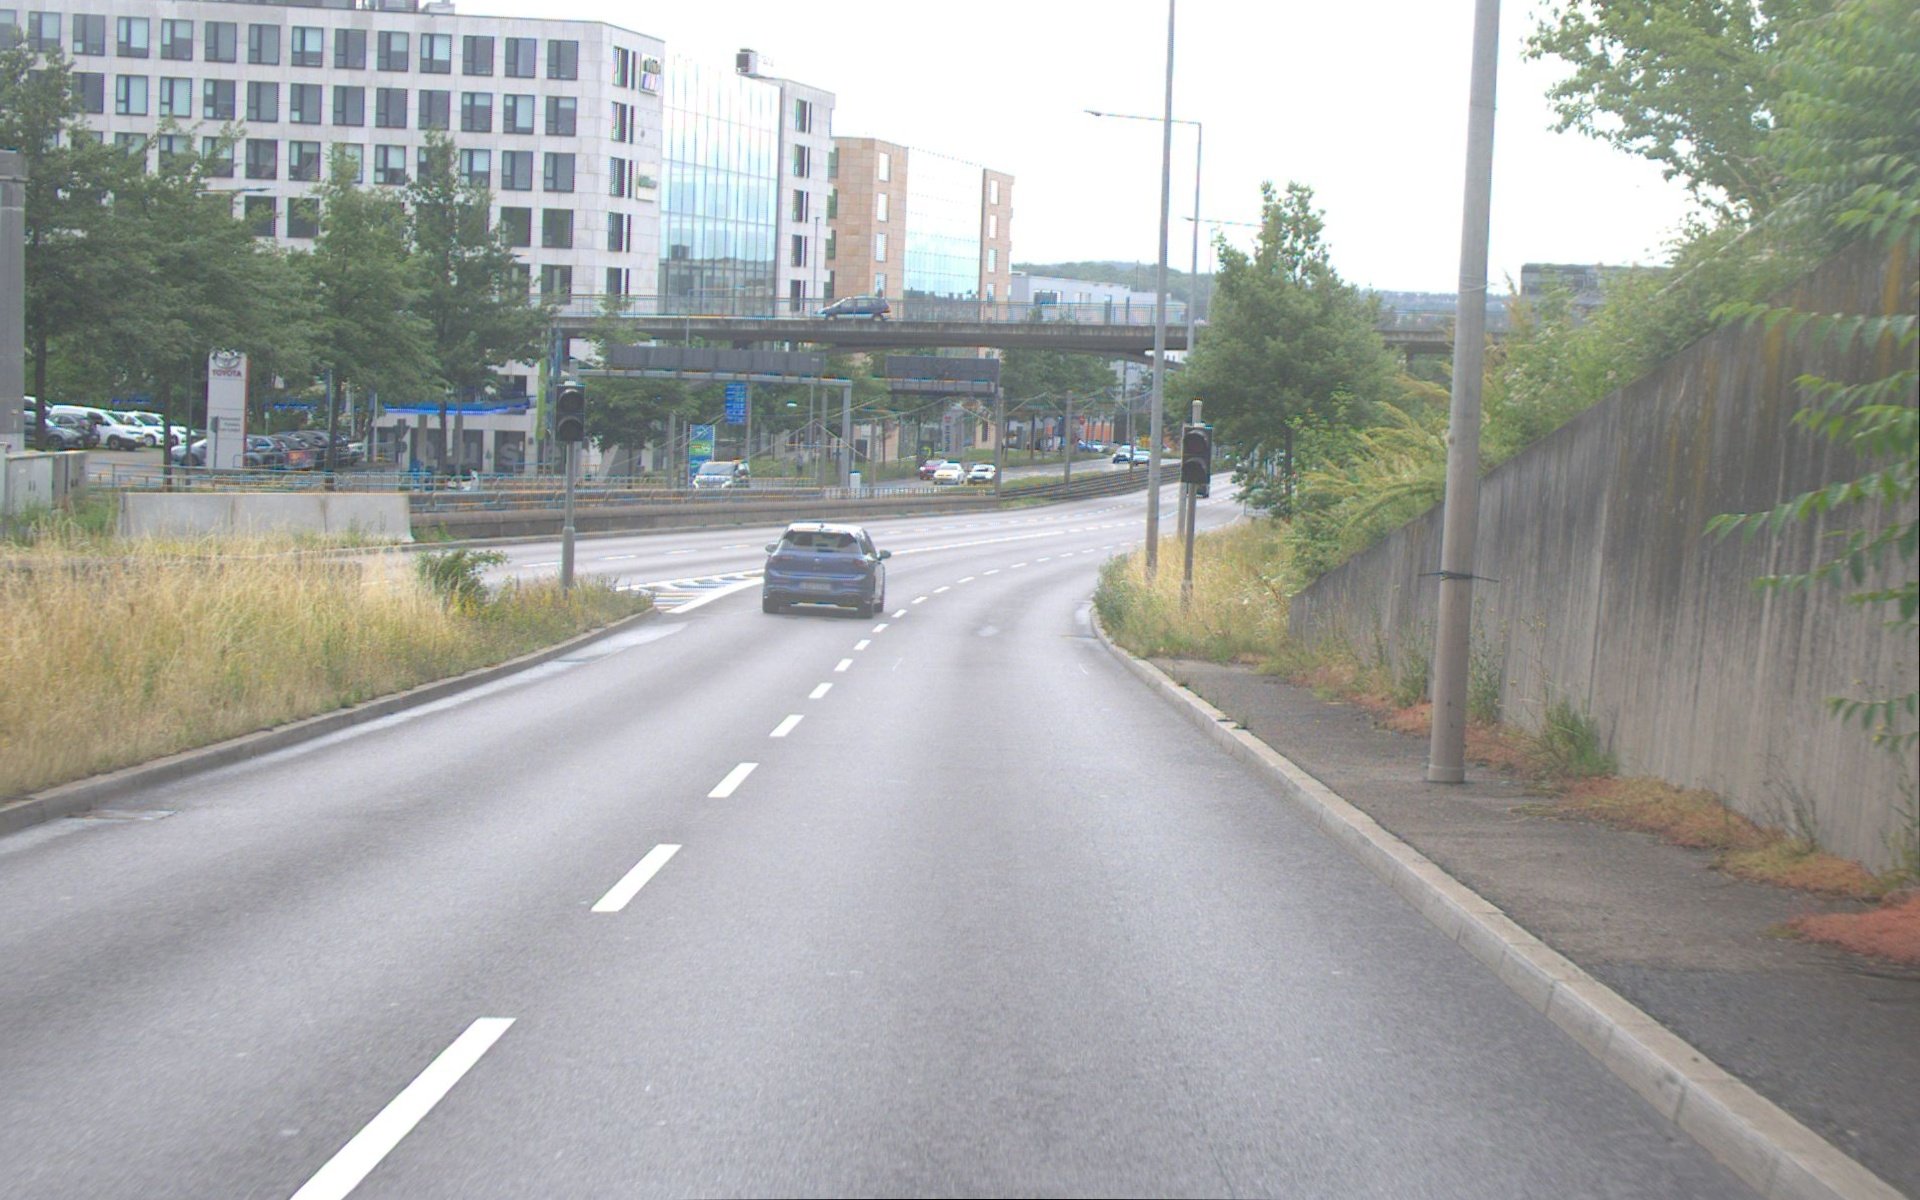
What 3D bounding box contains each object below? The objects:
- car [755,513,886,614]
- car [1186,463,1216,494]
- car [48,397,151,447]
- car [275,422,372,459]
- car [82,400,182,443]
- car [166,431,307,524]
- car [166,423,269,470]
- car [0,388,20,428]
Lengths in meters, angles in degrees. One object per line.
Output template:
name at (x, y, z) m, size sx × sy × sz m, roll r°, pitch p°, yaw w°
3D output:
car at (-2.201, -0.614, 55.085) m, size 1.749 × 1.415 × 3.478 m, roll -1°, pitch 4°, yaw 3°
car at (16.574, -8.344, 235.999) m, size 1.863 × 1.743 × 4.001 m, roll 5°, pitch 5°, yaw 4°
car at (-39.131, -8.102, 156.363) m, size 3.990 × 1.869 × 1.999 m, roll 6°, pitch 5°, yaw 13°
car at (-29.599, -7.424, 159.930) m, size 3.989 × 1.349 × 1.849 m, roll 5°, pitch 3°, yaw 10°
car at (-38.955, -8.396, 161.773) m, size 3.990 × 1.645 × 1.999 m, roll 6°, pitch 5°, yaw 13°
car at (-14.649, -2.508, 69.760) m, size 1.688 × 1.584 × 3.549 m, roll 5°, pitch 5°, yaw 6°
car at (-31.880, -6.585, 147.604) m, size 3.986 × 1.645 × 2.001 m, roll 3°, pitch 3°, yaw -22°
car at (-44.966, -8.829, 155.882) m, size 3.988 × 1.645 × 2.000 m, roll 5°, pitch 5°, yaw 6°
